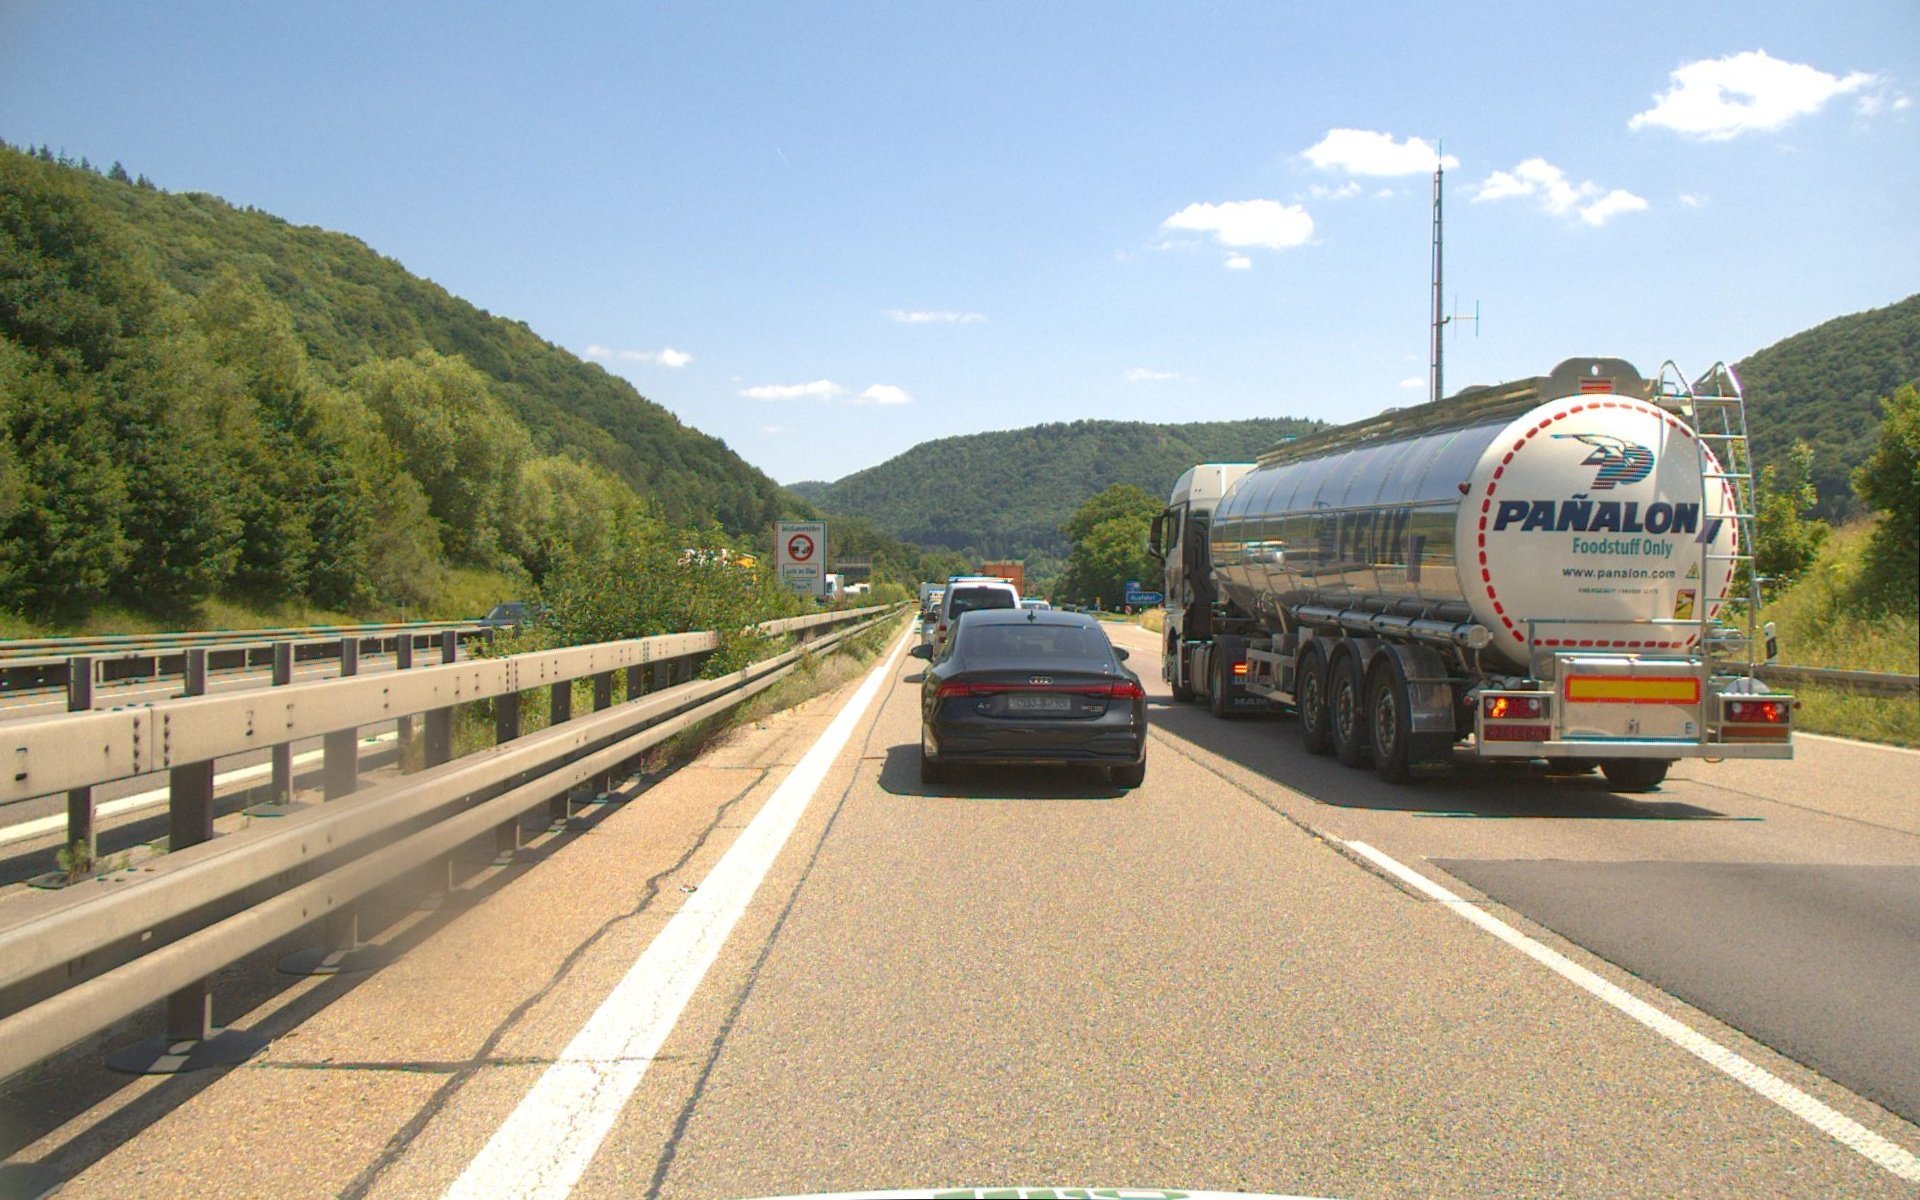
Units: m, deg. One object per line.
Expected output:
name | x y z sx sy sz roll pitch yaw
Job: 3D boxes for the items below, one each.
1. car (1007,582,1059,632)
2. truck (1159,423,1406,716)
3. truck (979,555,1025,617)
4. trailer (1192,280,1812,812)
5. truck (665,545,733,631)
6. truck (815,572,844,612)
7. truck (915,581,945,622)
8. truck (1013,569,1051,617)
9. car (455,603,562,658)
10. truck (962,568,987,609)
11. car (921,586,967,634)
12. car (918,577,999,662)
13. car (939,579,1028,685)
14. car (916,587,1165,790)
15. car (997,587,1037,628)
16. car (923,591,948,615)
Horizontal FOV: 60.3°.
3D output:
car | 3.044 0.277 69.616 1.953 2.049 3.999 0 0 -1
truck | 4.568 -0.404 24.437 2.461 3.824 5.244 1 0 -2
truck | 2.869 -0.935 116.636 2.760 4.073 14.954 1 0 0
trailer | 4.758 -0.385 17.886 2.487 3.801 11.887 1 0 -2
truck | -13.097 -0.592 83.365 2.495 4.162 5.849 0 0 -1
truck | -13.782 -0.854 174.803 2.672 4.071 5.368 -1 0 -1
truck | -2.640 0.133 148.241 2.575 3.501 11.419 0 0 0
truck | 6.418 -0.604 149.380 2.760 4.073 14.954 1 0 0
car | -12.765 0.824 47.006 1.831 1.445 4.432 -1 0 0
truck | 1.222 -0.985 146.663 1.953 3.507 11.809 1 0 -1
car | -0.738 0.414 72.202 1.953 2.049 3.999 0 0 -1
car | -0.066 0.474 42.304 1.953 2.049 3.999 1 0 -1
car | 0.393 0.569 31.479 1.544 1.865 3.999 1 0 -1
car | 0.562 0.673 14.594 1.812 1.514 4.081 1 0 -3
car | 2.930 0.381 85.309 1.953 2.038 4.000 0 0 0
car | -1.729 0.183 116.110 1.677 1.647 4.000 0 0 0
